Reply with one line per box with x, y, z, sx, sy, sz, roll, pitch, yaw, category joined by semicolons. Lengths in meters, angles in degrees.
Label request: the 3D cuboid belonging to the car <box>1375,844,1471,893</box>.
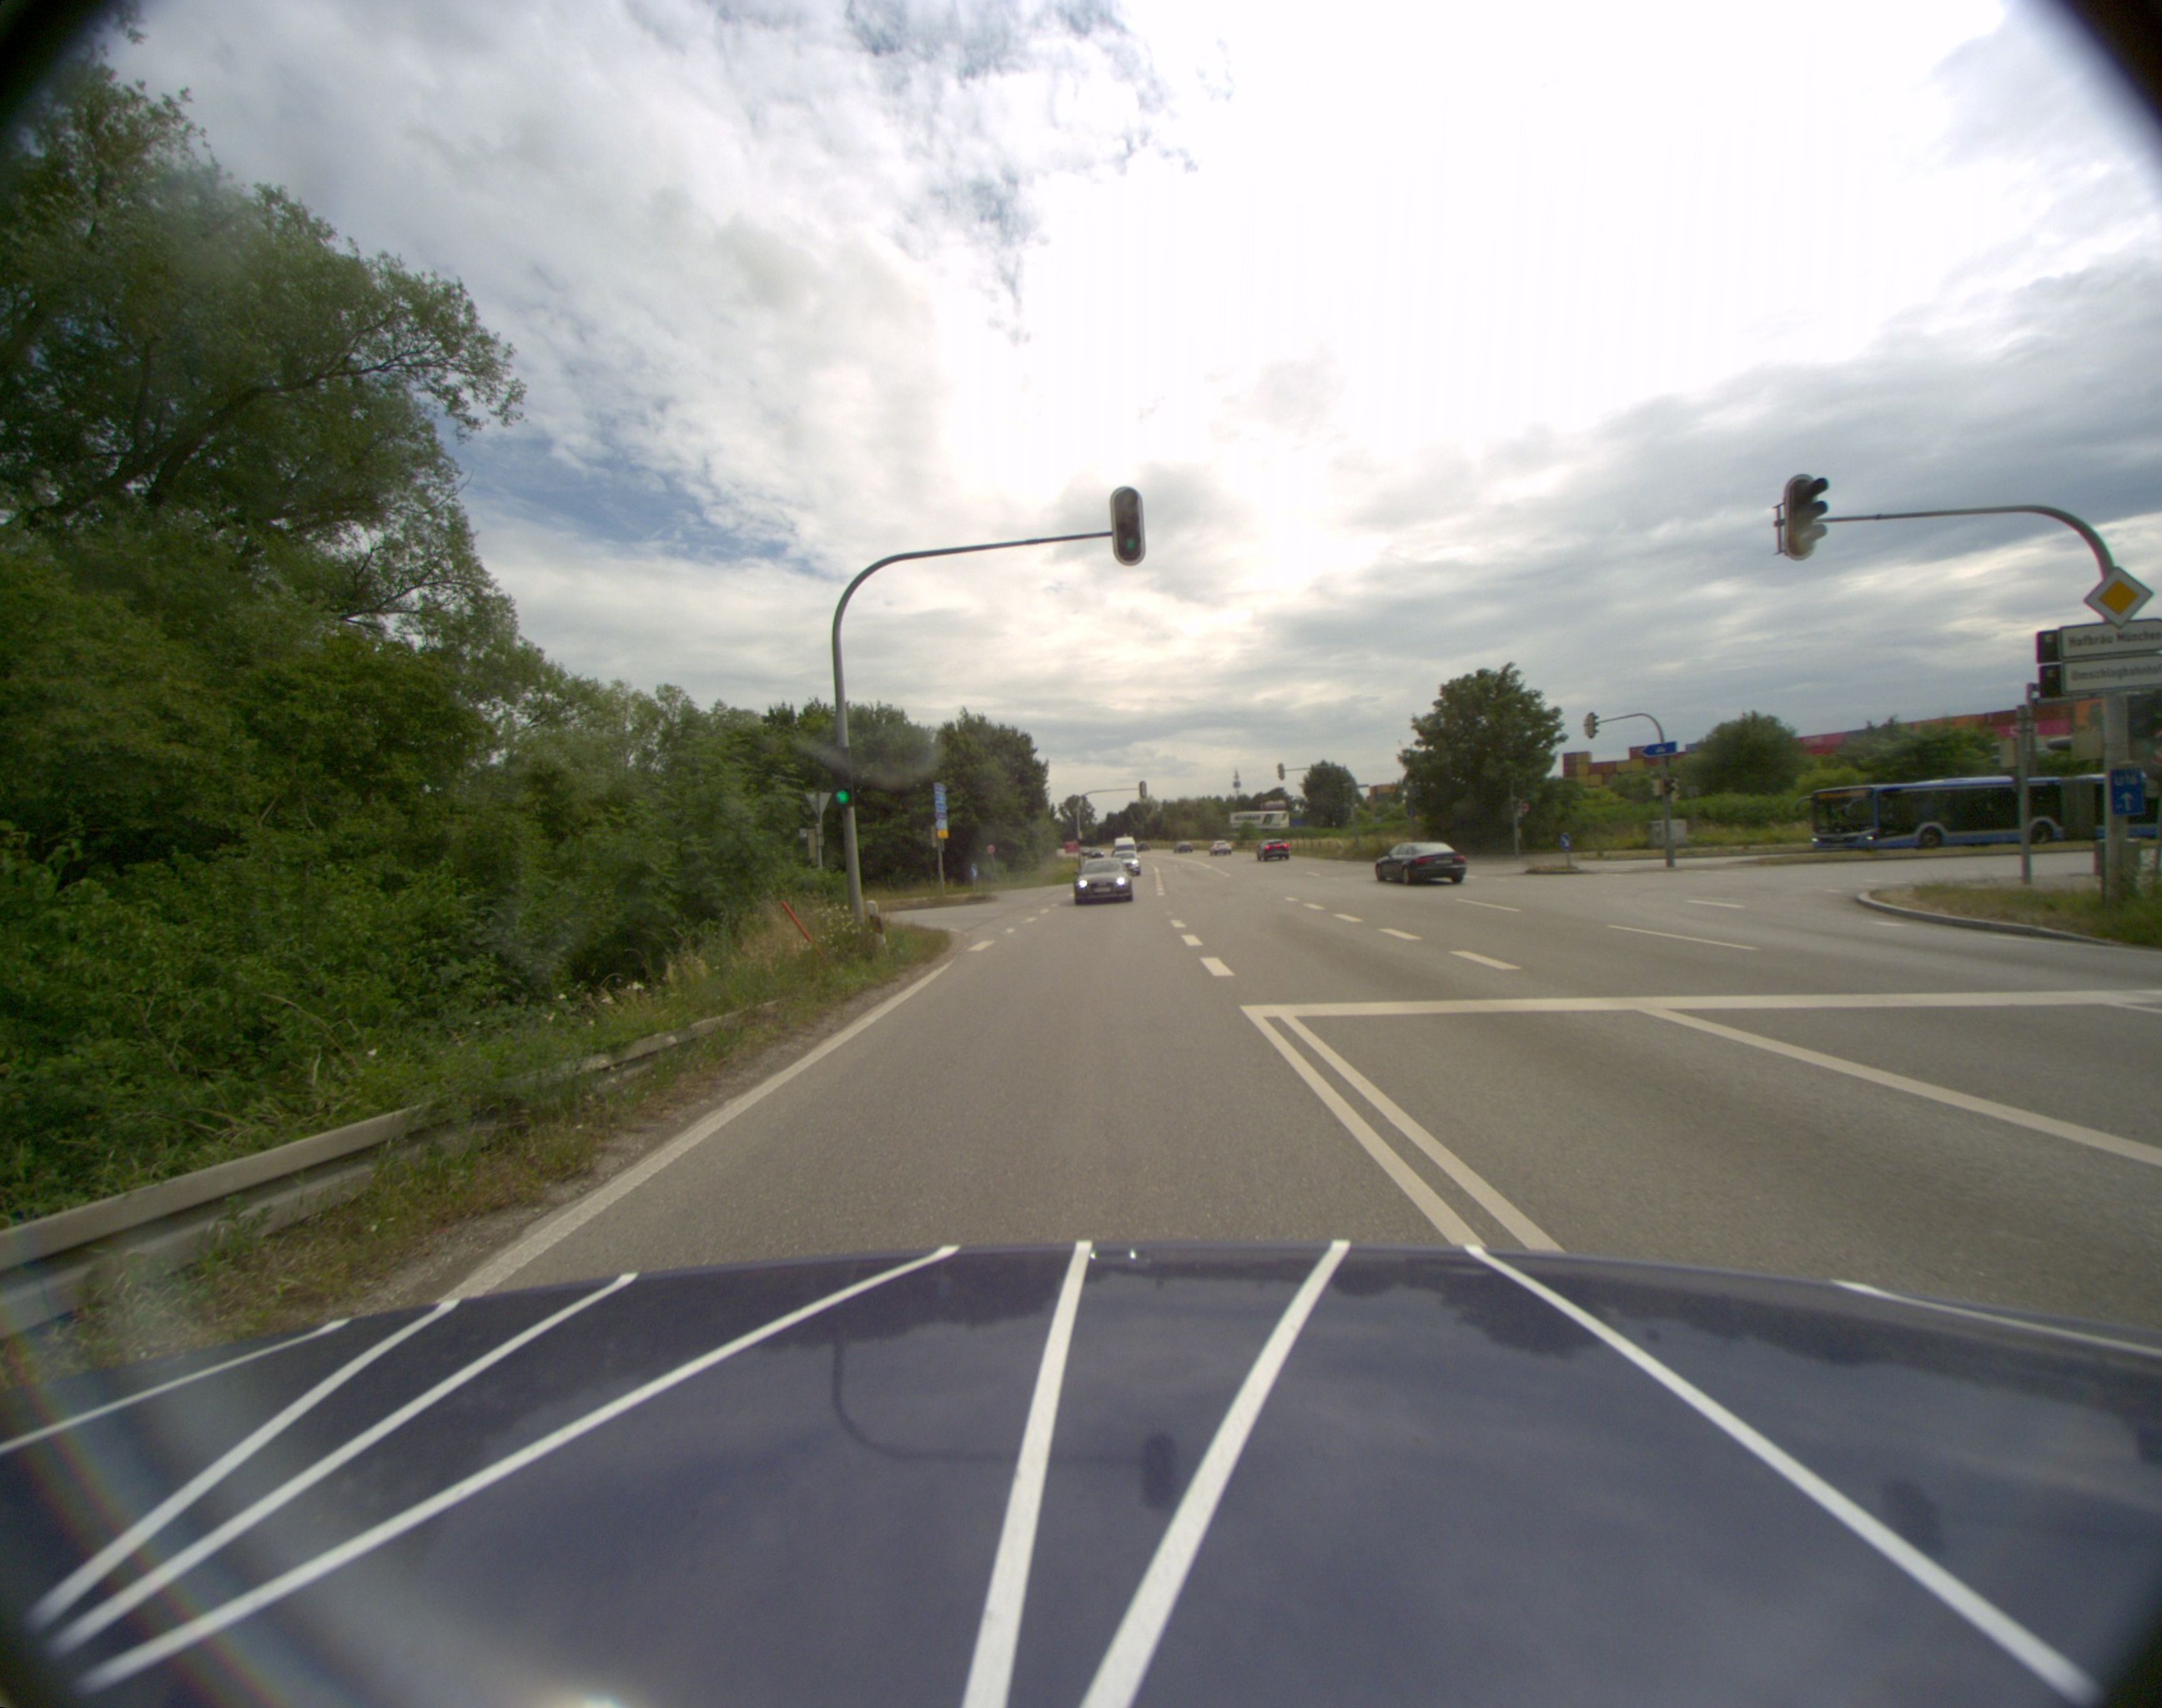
11.541;0.429;25.922;1.743;1.477;4.201;-2;1;6;car

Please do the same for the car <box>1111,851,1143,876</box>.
2.984;0.590;49.951;1.827;1.489;4.224;-1;0;-1;car

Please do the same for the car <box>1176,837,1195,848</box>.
14.315;-1.552;104.095;1.745;1.378;3.997;-5;2;-4;car

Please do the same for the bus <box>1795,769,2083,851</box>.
37.853;-1.896;33.686;10.070;3.029;3.120;-3;1;-6;bus

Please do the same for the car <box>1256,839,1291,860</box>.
14.142;-0.351;56.025;1.744;1.377;4.000;-4;1;4;car

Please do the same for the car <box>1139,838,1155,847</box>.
11.310;-1.883;130.068;1.745;1.378;3.996;-5;2;-10;car

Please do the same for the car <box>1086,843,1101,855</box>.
2.088;-0.872;127.763;1.999;2.002;3.998;-2;1;-5;car

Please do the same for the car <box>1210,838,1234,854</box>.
15.030;-0.863;80.999;1.744;1.477;3.999;-5;1;1;car

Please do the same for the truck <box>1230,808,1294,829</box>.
37.465;-7.435;158.081;3.368;4.303;14.169;-3;4;-34;truck

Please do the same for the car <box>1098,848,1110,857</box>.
3.518;-0.197;115.530;1.744;1.317;4.000;0;0;1;car

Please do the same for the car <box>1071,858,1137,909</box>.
0.888;0.928;26.013;1.964;1.446;4.797;-2;1;4;car

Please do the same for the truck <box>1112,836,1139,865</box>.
4.198;-0.375;72.336;2.378;2.578;5.999;-2;1;3;truck

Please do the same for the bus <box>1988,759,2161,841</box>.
46.761;-2.451;34.597;7.823;3.328;3.120;-3;1;-6;bus
